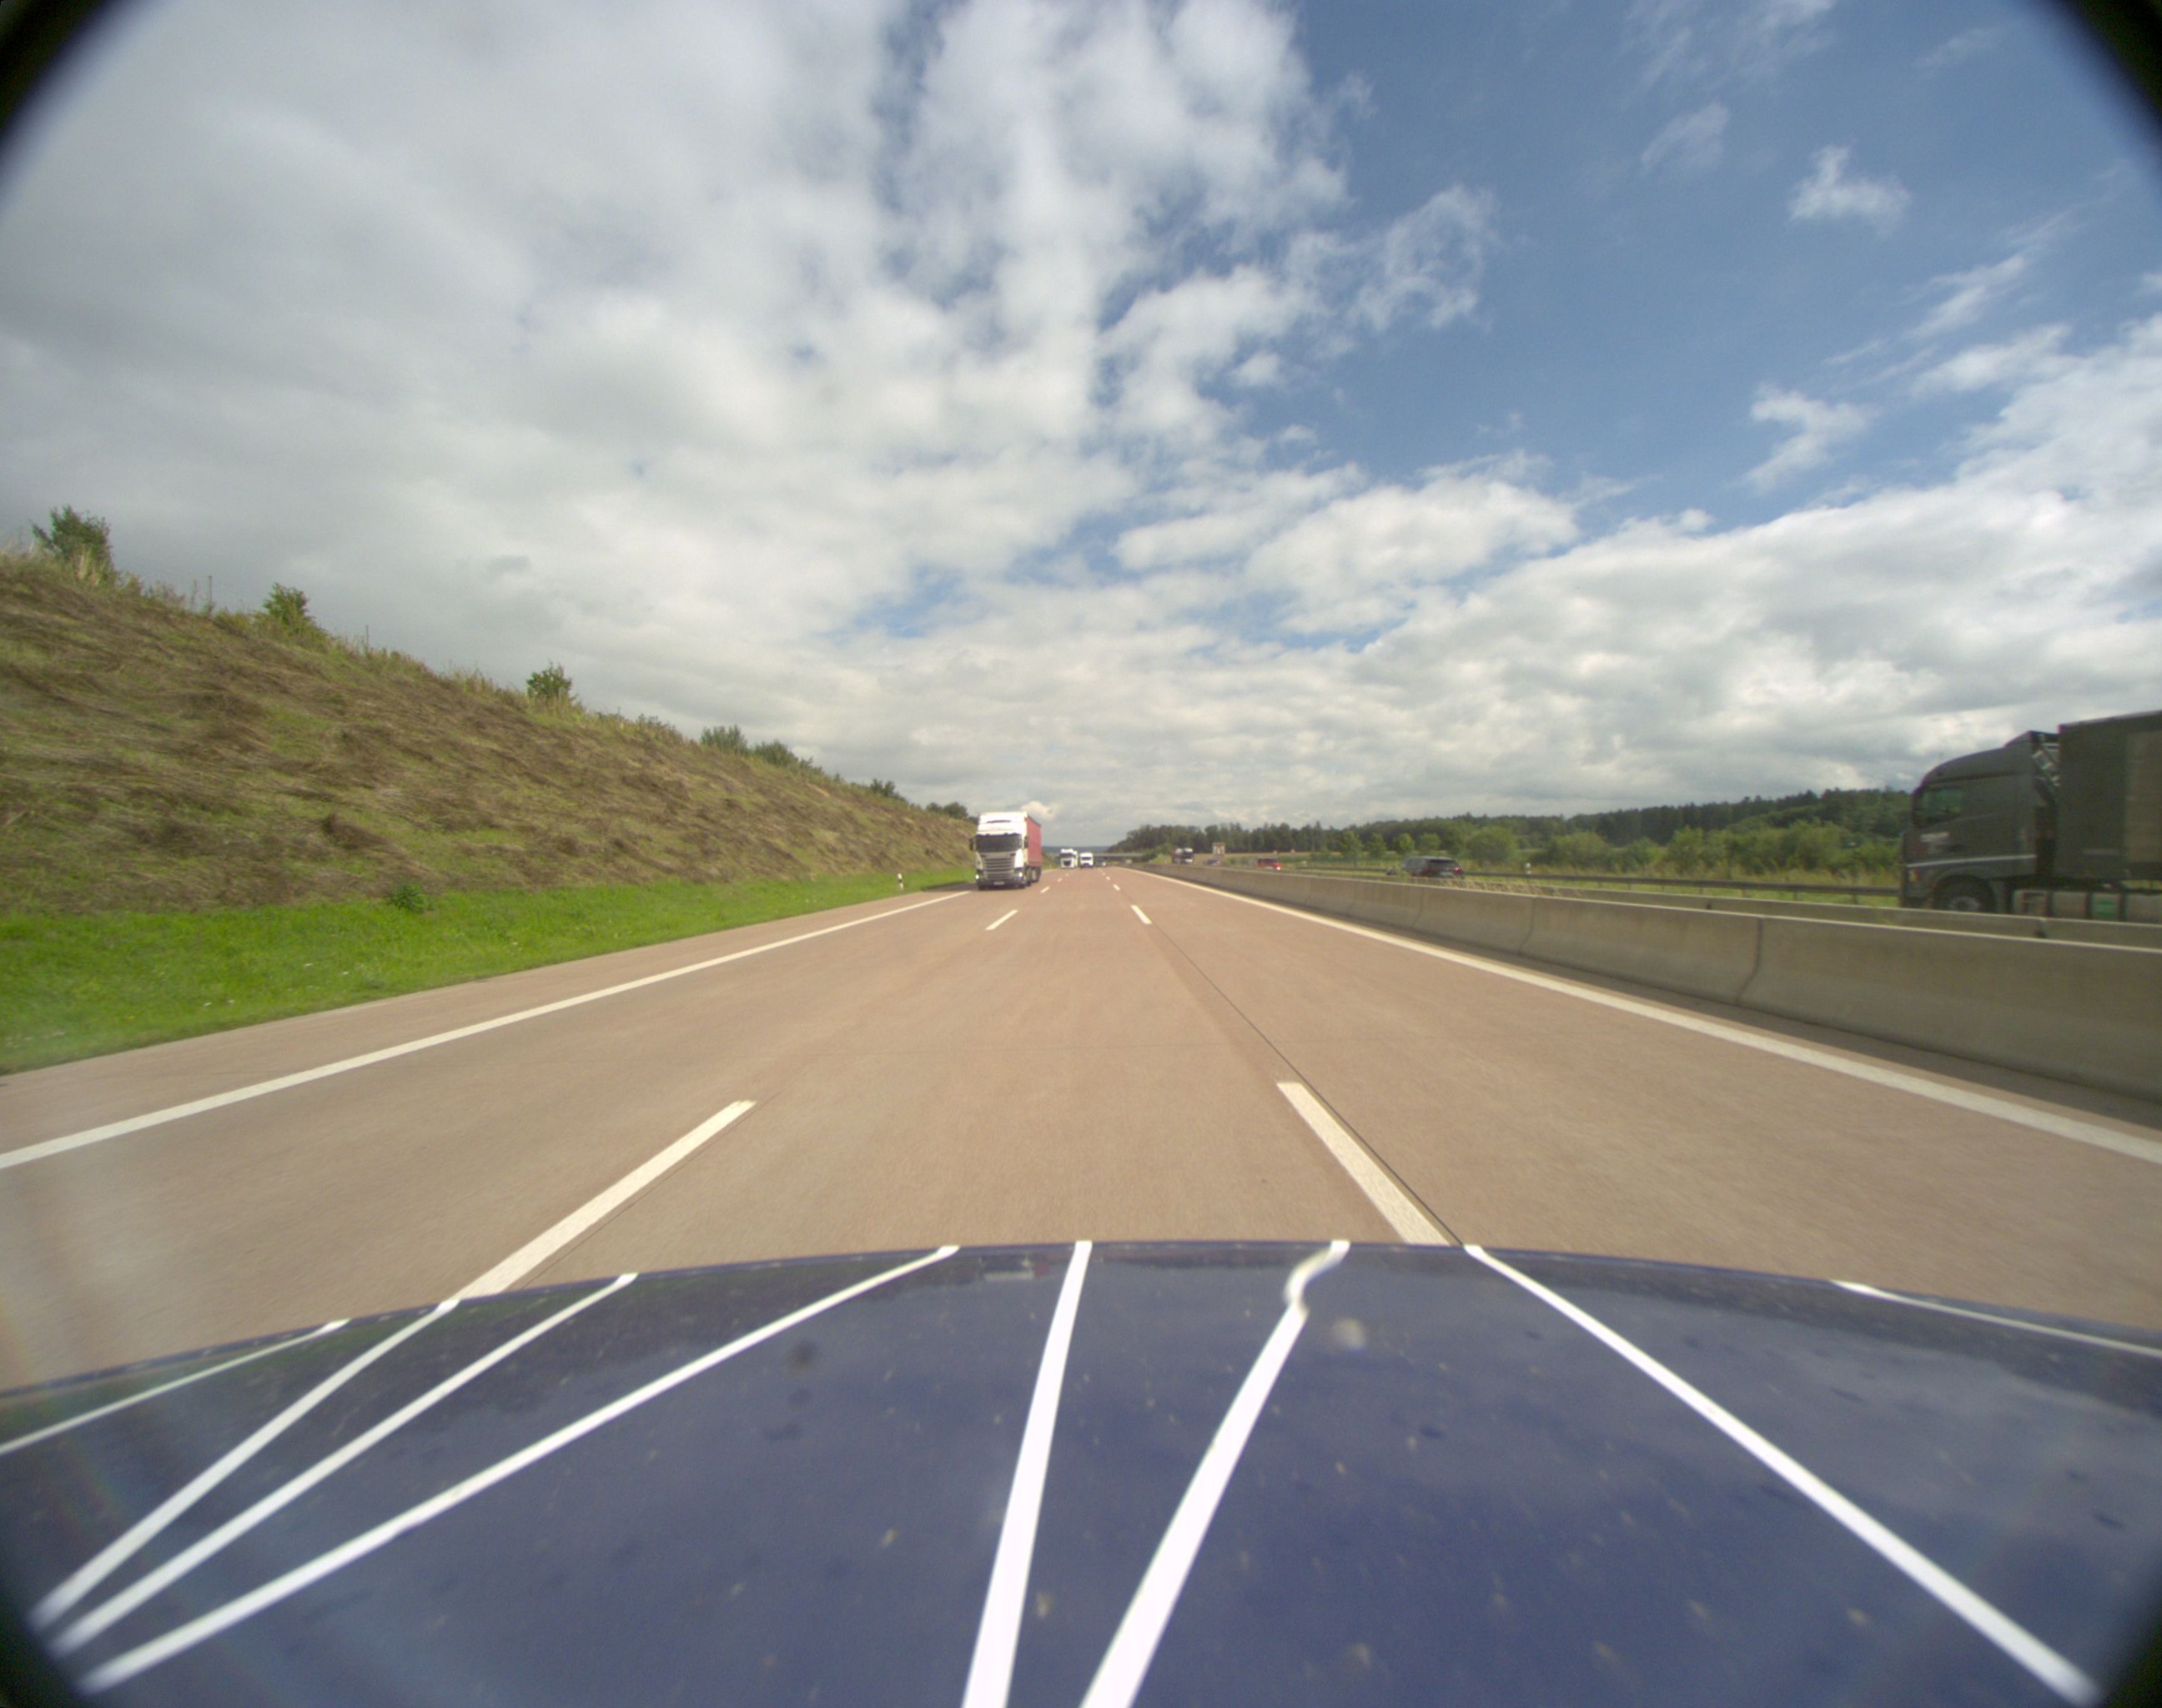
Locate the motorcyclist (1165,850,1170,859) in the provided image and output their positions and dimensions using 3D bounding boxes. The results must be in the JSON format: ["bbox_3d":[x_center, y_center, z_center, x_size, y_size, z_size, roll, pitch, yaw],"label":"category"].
[{"bbox_3d":[17.129,0.069,150.377,1.012,1.851,0.744,-3,1,2],"label":"motorcyclist"}]

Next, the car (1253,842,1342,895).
[{"bbox_3d":[7.609,0.473,27.162,1.889,1.652,4.433,-3,0,1],"label":"car"}]

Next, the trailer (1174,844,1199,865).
[{"bbox_3d":[21.474,0.179,156.024,3.202,3.955,16.326,-3,0,2],"label":"trailer"}]

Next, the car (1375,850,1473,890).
[{"bbox_3d":[15.171,0.660,33.955,1.998,1.565,5.218,-3,0,1],"label":"car"}]

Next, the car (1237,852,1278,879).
[{"bbox_3d":[8.087,0.498,35.022,1.225,1.145,2.757,-3,0,1],"label":"car"}]

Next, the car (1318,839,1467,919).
[{"bbox_3d":[7.497,0.552,18.772,1.977,1.652,4.082,-3,0,1],"label":"car"}]

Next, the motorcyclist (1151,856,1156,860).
[{"bbox_3d":[18.453,0.994,193.716,1.188,0.943,0.839,-3,0,1],"label":"motorcyclist"}]

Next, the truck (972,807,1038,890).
[{"bbox_3d":[-3.979,-0.279,41.287,2.681,4.082,6.616,-2,0,1],"label":"truck"}]

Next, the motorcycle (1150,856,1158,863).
[{"bbox_3d":[18.619,1.364,193.833,1.558,1.533,2.841,-3,0,1],"label":"motorcycle"}]

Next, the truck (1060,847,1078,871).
[{"bbox_3d":[-2.300,0.988,150.863,3.107,4.333,11.256,-3,0,1],"label":"truck"}]

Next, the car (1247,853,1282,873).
[{"bbox_3d":[16.470,0.782,68.423,1.978,1.652,4.490,-3,0,0],"label":"car"}]

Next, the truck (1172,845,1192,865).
[{"bbox_3d":[21.712,0.184,163.841,3.202,3.955,7.730,-3,0,2],"label":"truck"}]

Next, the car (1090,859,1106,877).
[{"bbox_3d":[3.357,2.659,149.223,2.773,3.260,6.393,-3,0,1],"label":"car"}]

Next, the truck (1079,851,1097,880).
[{"bbox_3d":[1.124,1.759,124.270,2.681,4.333,11.808,-3,0,1],"label":"truck"}]

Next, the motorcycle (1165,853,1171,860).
[{"bbox_3d":[17.167,0.527,150.306,0.929,1.296,2.342,-3,0,1],"label":"motorcycle"}]

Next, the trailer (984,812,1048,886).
[{"bbox_3d":[-3.886,-0.271,48.622,2.679,4.069,12.789,-2,0,1],"label":"trailer"}]

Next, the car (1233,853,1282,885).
[{"bbox_3d":[11.587,0.941,50.321,1.998,1.971,5.218,-3,0,1],"label":"car"}]

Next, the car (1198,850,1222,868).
[{"bbox_3d":[16.041,0.604,94.756,1.991,2.002,5.051,-3,1,1],"label":"car"}]

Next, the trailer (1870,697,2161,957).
[{"bbox_3d":[19.084,-0.493,13.398,3.015,4.223,7.009,-3,0,1],"label":"trailer"}]
